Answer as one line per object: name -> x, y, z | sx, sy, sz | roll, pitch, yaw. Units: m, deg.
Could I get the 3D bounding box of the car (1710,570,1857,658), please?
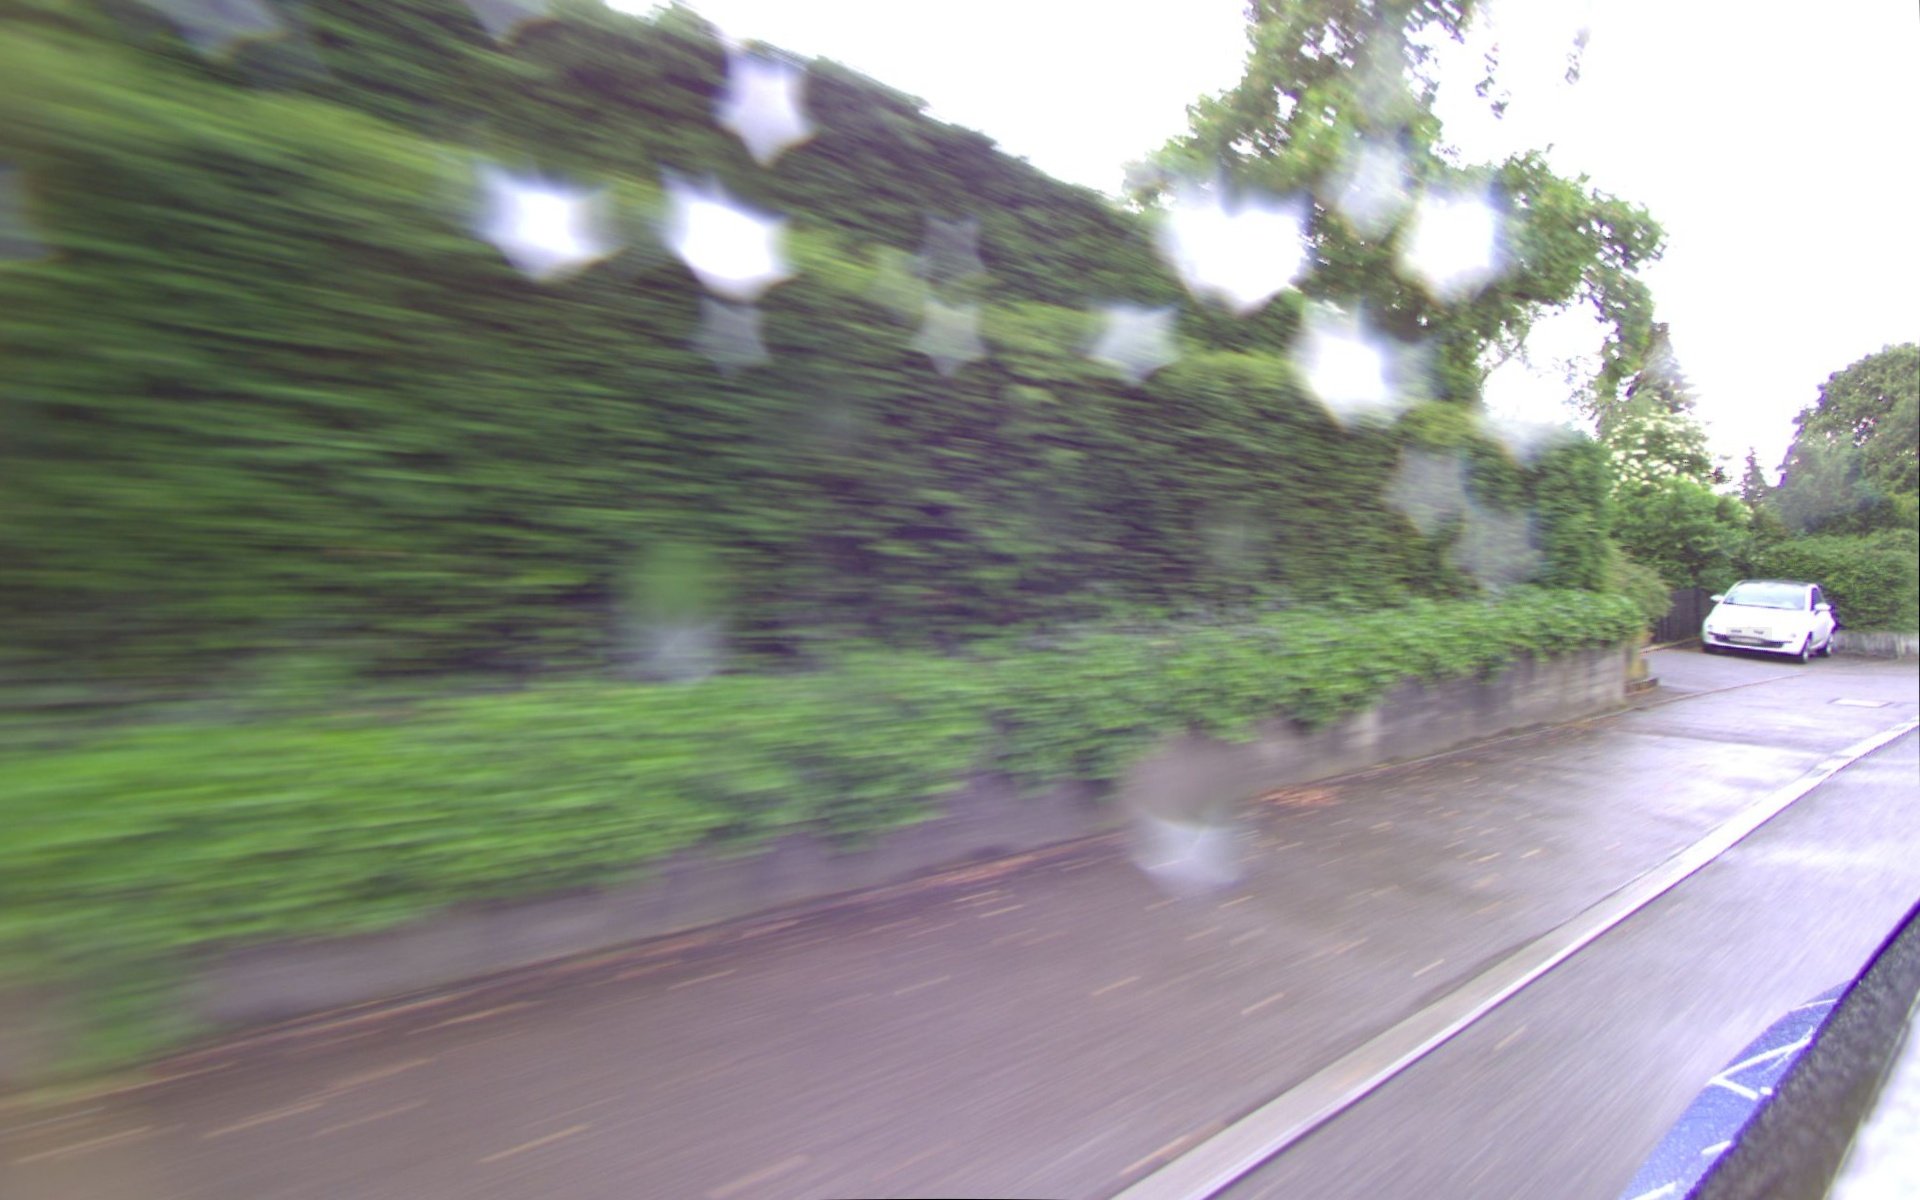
car -> 16.399, 0.240, 20.089 | 3.777, 1.554, 1.535 | 0, 2, -40

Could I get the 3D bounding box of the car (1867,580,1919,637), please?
car -> 30.255, 0.217, 30.306 | 1.692, 1.739, 4.351 | -1, -2, -12
